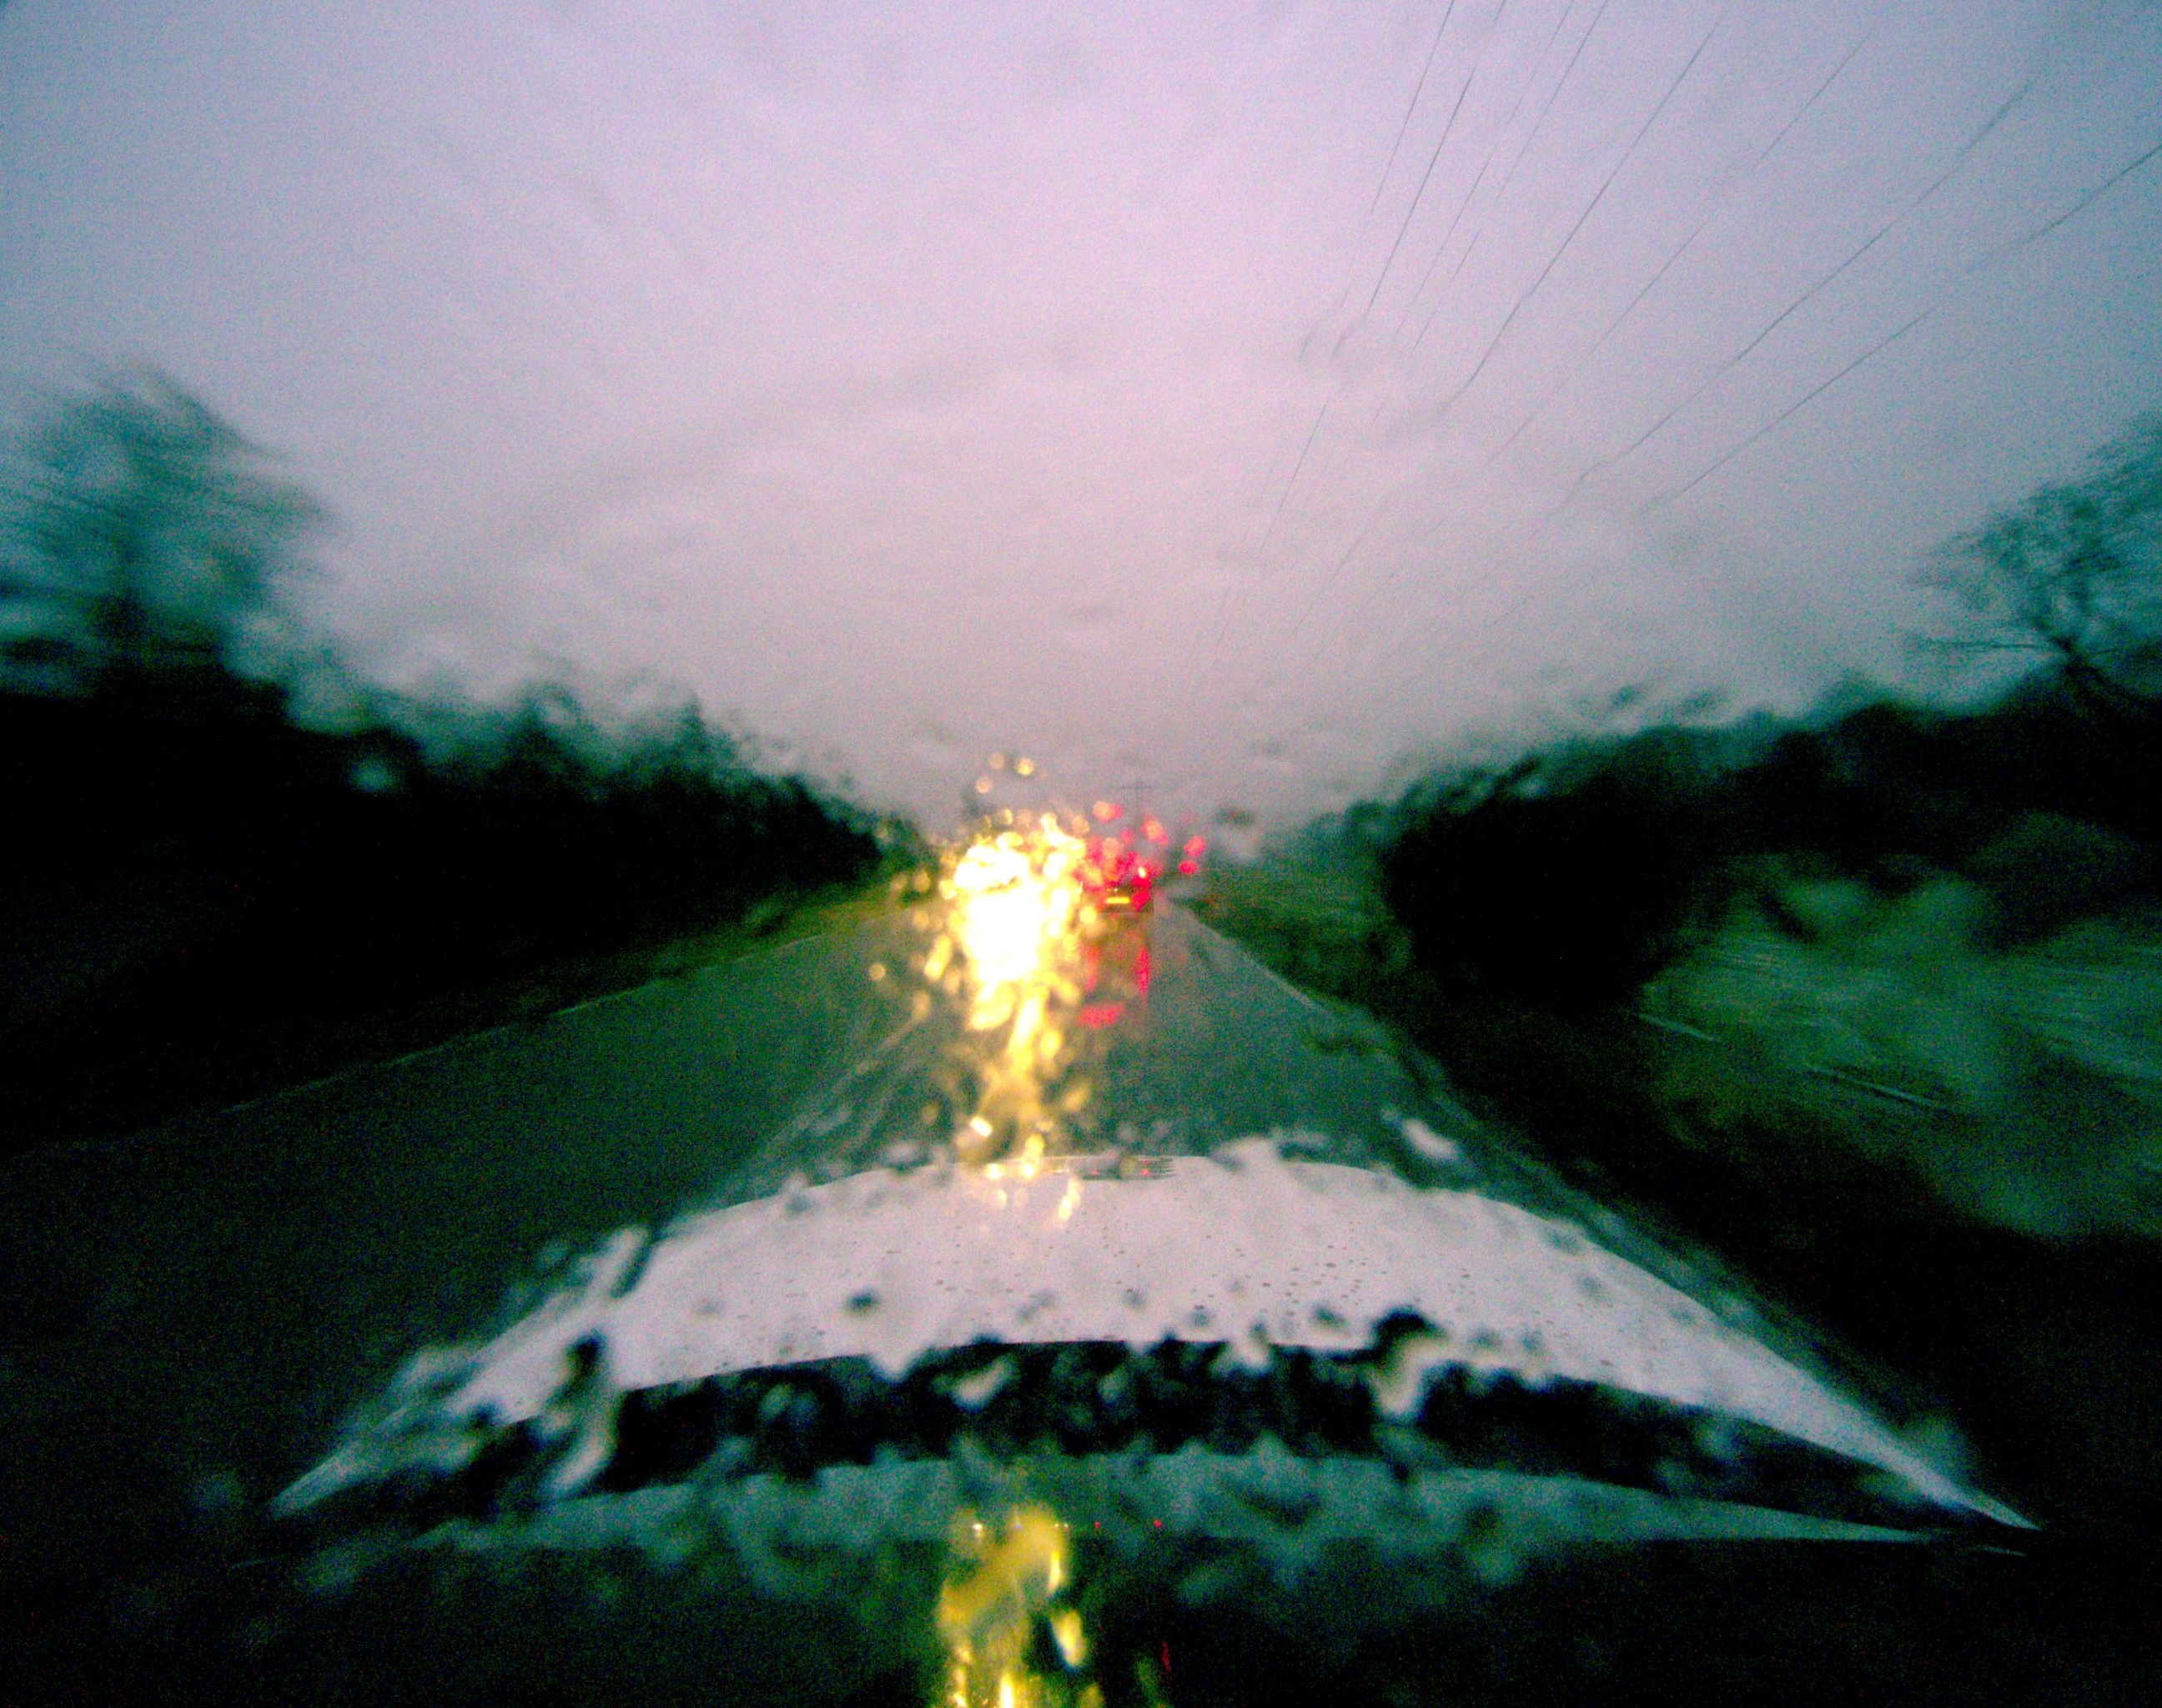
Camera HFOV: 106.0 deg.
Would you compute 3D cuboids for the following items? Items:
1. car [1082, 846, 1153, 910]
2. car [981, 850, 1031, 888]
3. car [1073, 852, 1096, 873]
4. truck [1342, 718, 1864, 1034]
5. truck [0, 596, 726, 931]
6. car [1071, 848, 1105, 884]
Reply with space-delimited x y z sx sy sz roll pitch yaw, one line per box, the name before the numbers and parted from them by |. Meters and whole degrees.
car | 0.818 0.542 19.803 1.496 1.398 3.197 -1 0 -2
car | -3.338 0.623 37.137 1.763 1.591 4.165 -1 0 1
car | 0.289 0.689 68.315 1.764 1.591 4.161 -1 0 -2
truck | 6.244 0.221 11.713 2.525 2.978 7.858 -1 0 1
truck | -27.978 -1.982 33.677 7.514 7.713 40.169 -1 0 2
car | 0.380 0.677 48.305 1.847 2.014 3.997 -1 0 -2
